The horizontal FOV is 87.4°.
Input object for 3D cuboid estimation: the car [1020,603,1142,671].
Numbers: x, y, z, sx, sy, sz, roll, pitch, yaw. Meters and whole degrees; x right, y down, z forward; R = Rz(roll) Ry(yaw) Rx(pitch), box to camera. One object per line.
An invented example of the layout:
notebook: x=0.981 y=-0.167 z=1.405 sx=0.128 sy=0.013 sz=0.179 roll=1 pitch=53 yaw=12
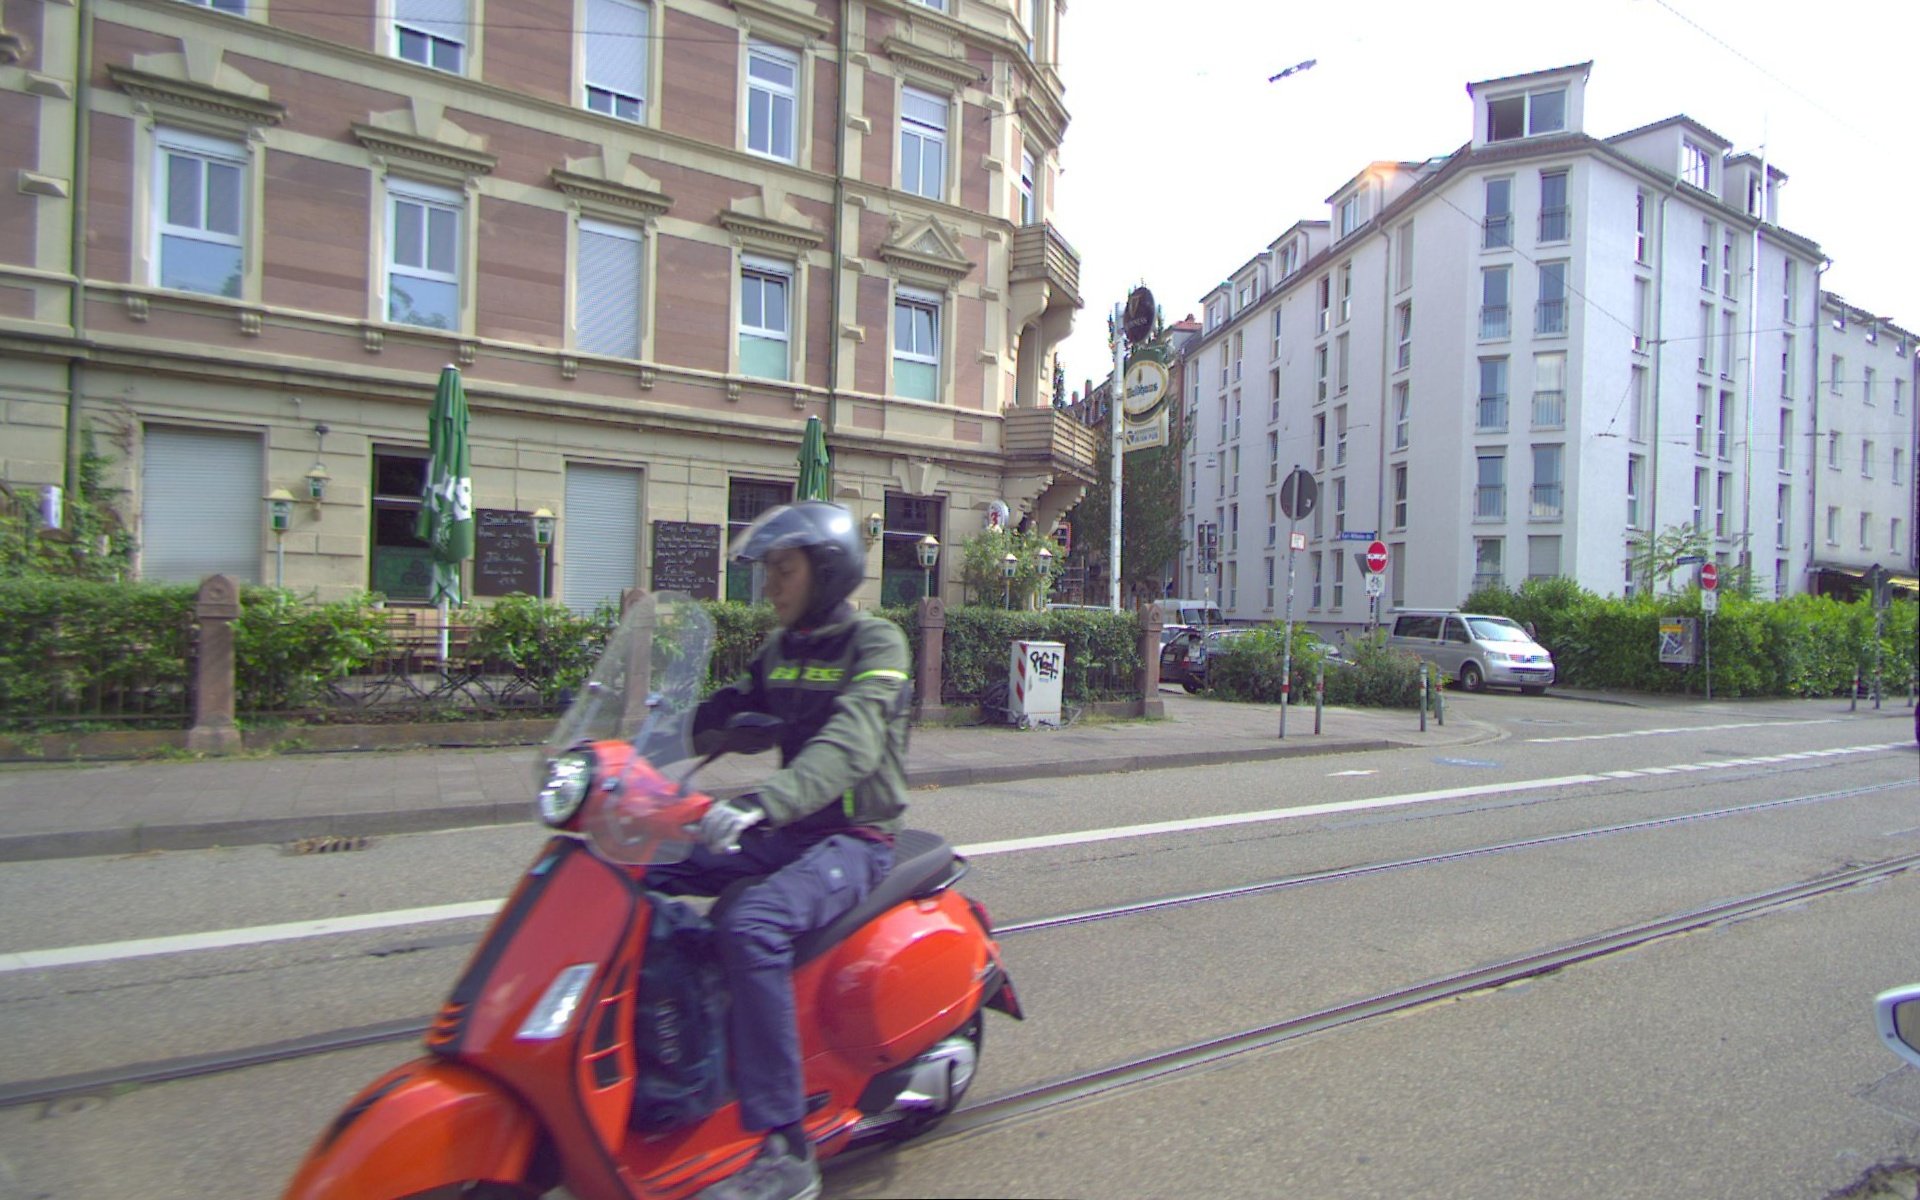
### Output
car: x=3.795 y=1.146 z=31.854 sx=3.519 sy=2.022 sz=1.703 roll=2 pitch=0 yaw=-7

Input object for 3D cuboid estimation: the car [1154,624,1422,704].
car: x=6.528 y=1.258 z=20.465 sx=4.862 sy=1.383 sz=1.894 roll=1 pitch=0 yaw=5

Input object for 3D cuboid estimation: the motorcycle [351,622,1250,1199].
motorcycle: x=-0.257 y=0.768 z=2.479 sx=2.068 sy=1.378 sz=0.734 roll=2 pitch=-1 yaw=-36

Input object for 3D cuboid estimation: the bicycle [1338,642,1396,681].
bicycle: x=12.296 y=1.840 z=30.434 sx=0.769 sy=1.080 sz=2.031 roll=2 pitch=-1 yaw=-5

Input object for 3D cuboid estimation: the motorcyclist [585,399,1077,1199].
motorcyclist: x=-0.319 y=0.507 z=2.432 sx=0.912 sy=1.737 sz=0.734 roll=2 pitch=-1 yaw=-35

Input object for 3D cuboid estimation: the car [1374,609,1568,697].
car: x=13.013 y=1.292 z=26.020 sx=2.012 sy=2.040 sz=4.940 roll=1 pitch=-1 yaw=-8

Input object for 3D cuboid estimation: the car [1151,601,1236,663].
car: x=10.370 y=1.381 z=45.139 sx=2.102 sy=2.541 sz=5.672 roll=1 pitch=-1 yaw=-4

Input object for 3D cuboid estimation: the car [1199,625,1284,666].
car: x=11.082 y=1.767 z=39.813 sx=1.630 sy=1.434 sz=3.992 roll=2 pitch=-1 yaw=-11

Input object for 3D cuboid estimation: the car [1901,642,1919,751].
car: x=14.825 y=1.332 z=13.848 sx=3.888 sy=1.459 sz=1.588 roll=2 pitch=-2 yaw=-29

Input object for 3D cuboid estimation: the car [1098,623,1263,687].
car: x=5.622 y=1.391 z=25.886 sx=3.699 sy=1.419 sz=1.891 roll=3 pitch=0 yaw=-7

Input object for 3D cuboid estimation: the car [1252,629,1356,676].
car: x=11.882 y=1.774 z=34.966 sx=1.630 sy=1.434 sz=3.992 roll=2 pitch=-1 yaw=-11

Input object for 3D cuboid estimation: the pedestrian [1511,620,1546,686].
pedestrian: x=15.276 y=1.419 z=26.994 sx=0.775 sy=1.721 sz=0.479 roll=2 pitch=-1 yaw=-30
